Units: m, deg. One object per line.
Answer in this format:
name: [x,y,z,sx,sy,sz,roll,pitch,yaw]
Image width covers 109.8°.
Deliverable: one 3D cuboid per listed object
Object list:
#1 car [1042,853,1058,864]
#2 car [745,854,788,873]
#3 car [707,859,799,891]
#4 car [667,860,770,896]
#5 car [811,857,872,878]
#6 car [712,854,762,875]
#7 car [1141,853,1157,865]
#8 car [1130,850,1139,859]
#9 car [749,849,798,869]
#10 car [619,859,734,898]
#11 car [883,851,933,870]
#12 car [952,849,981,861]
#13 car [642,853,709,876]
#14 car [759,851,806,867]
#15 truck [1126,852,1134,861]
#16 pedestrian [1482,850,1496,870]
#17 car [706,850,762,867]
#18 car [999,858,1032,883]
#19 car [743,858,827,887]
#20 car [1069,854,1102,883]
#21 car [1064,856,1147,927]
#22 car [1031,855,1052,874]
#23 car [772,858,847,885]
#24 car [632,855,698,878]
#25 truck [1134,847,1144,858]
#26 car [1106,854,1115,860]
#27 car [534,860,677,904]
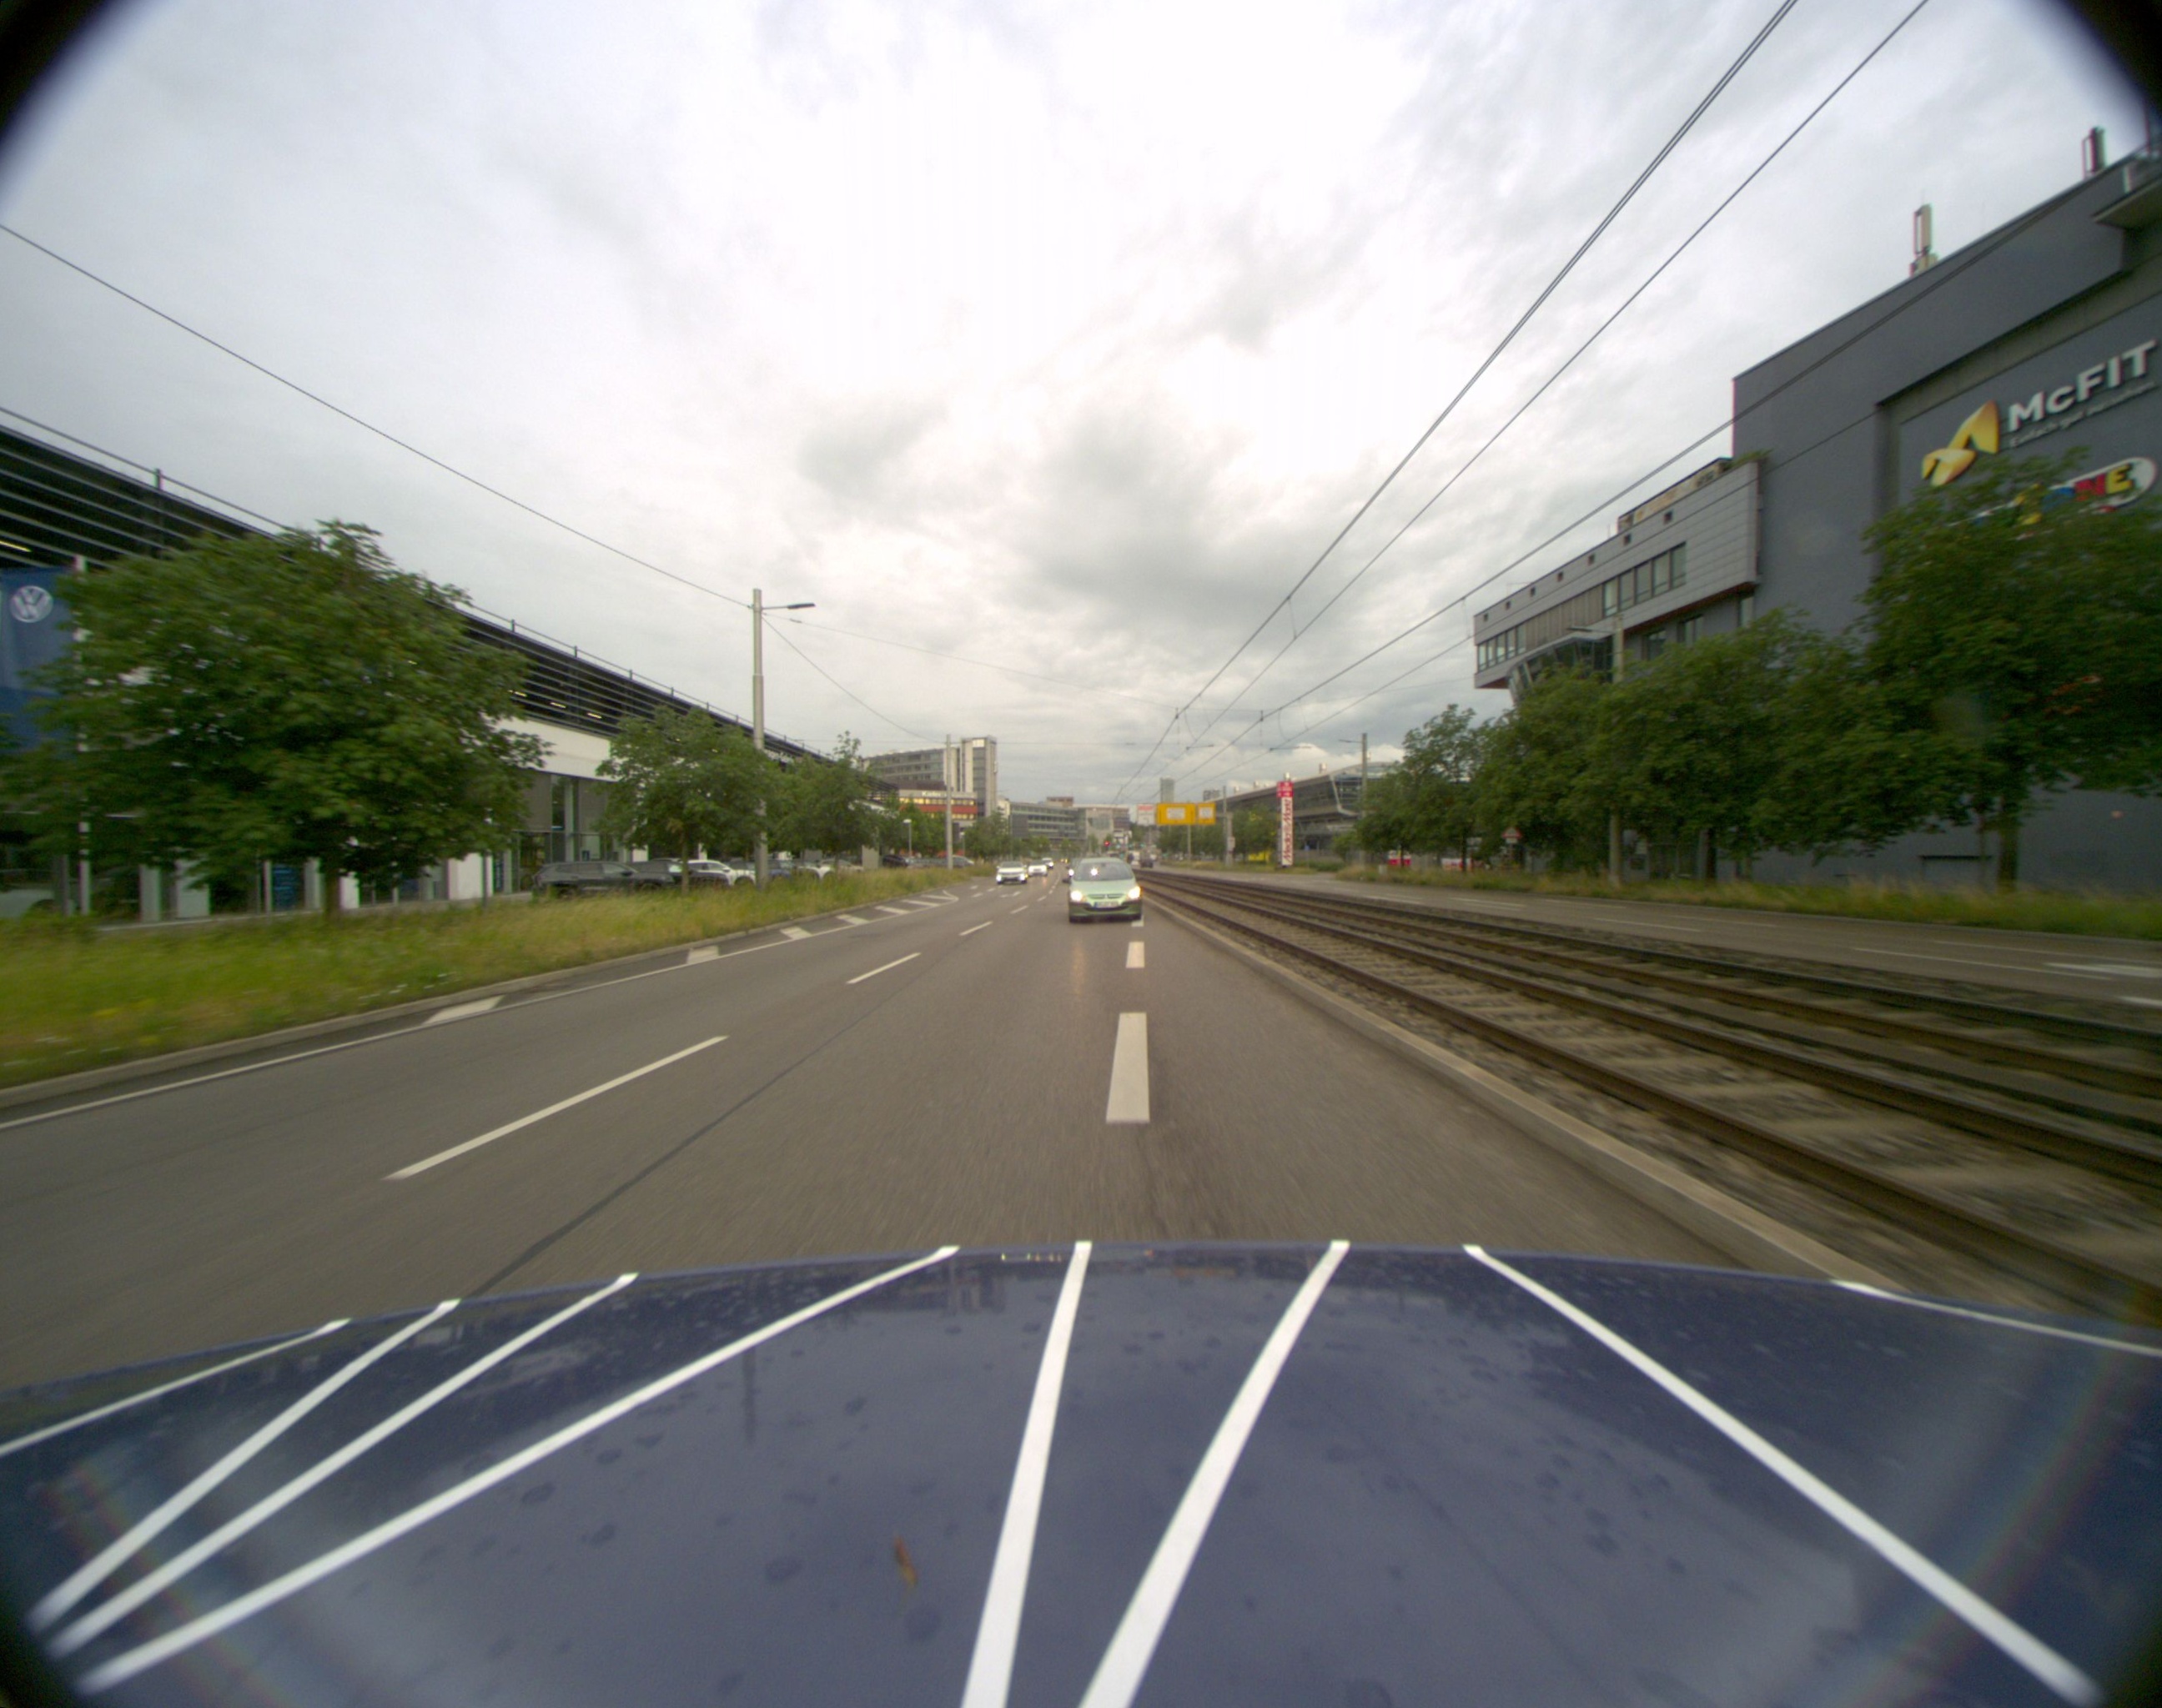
car: [-4.698,0.676,114.481,1.889,1.584,3.982,-1,0,4]
car: [-26.523,0.741,64.250,1.899,1.459,4.694,1,1,-2]
car: [-17.401,1.088,40.390,4.198,1.560,1.794,0,1,-36]
car: [-17.647,1.138,37.045,4.362,1.617,1.851,0,1,-31]
car: [-18.104,0.992,57.508,4.107,1.457,1.743,0,1,-34]
car: [-26.009,0.764,57.557,1.784,1.459,4.692,1,1,-2]
car: [10.901,0.822,121.727,1.999,1.725,4.212,1,-1,-1]
car: [11.468,0.094,164.015,1.602,1.529,2.948,2,4,-1]
car: [-30.618,0.507,75.714,4.037,1.964,1.944,0,1,-2]
car: [-17.949,1.038,33.744,4.383,1.560,1.794,0,1,-32]
car: [-17.616,0.612,77.392,4.710,1.865,1.828,1,0,22]
car: [-19.194,0.158,127.335,4.504,1.980,1.818,1,0,-20]
car: [-30.822,0.799,57.805,3.997,1.499,1.786,-3,1,1]
car: [-30.673,0.492,78.122,3.998,1.623,1.904,0,1,-2]
truck: [14.065,0.691,219.636,2.244,2.550,7.016,-1,0,3]
pedestrian: [33.585,0.472,62.491,0.810,1.669,0.580,0,1,-12]
car: [-30.081,0.406,65.981,3.998,1.416,1.763,0,1,-2]
car: [-4.257,1.044,49.975,1.878,1.485,3.836,-1,0,0]
car: [-17.124,1.049,44.082,4.199,1.560,1.794,0,2,-42]
car: [0.267,0.815,45.079,1.762,1.535,3.714,-3,1,0]
car: [0.505,0.852,19.110,1.762,1.489,4.136,-2,0,-2]
car: [-3.633,0.937,69.566,1.819,1.584,3.835,-1,0,-3]
car: [-17.192,1.063,48.121,4.108,1.560,1.794,0,2,-38]
car: [-30.130,0.894,55.043,3.826,1.578,1.638,-1,1,-2]
truck: [19.290,-0.556,251.898,2.734,3.339,7.149,1,3,1]
car: [6.898,0.740,179.592,1.807,1.420,4.235,0,0,-2]
car: [-18.519,1.033,29.817,4.634,1.559,1.847,0,1,-31]
